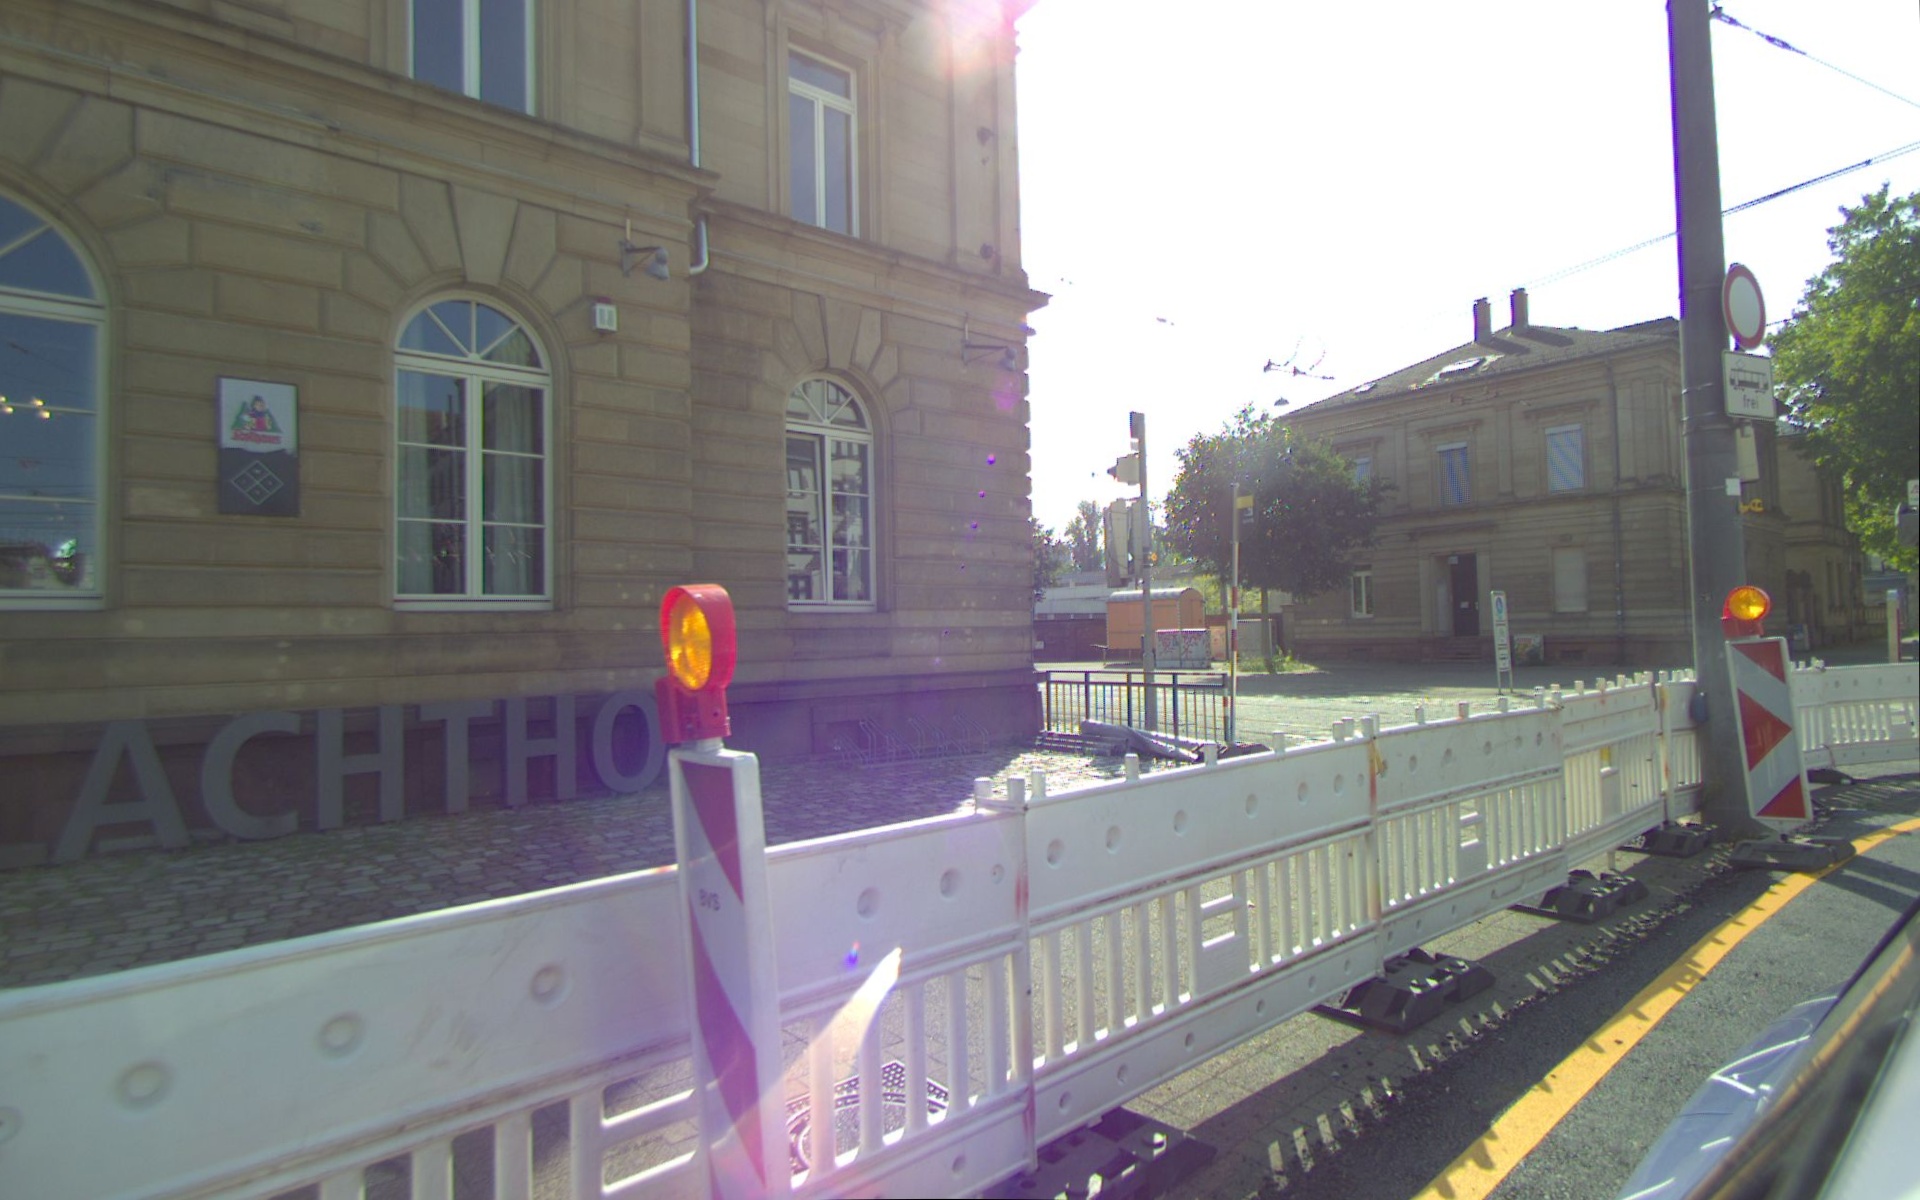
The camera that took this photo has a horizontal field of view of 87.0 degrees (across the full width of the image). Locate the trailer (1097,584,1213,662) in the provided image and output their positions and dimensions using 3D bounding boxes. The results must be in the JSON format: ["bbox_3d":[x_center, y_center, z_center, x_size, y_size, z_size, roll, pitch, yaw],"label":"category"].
[{"bbox_3d":[8.135,0.965,42.352,3.983,3.108,2.519,-3,-1,42],"label":"trailer"}]
